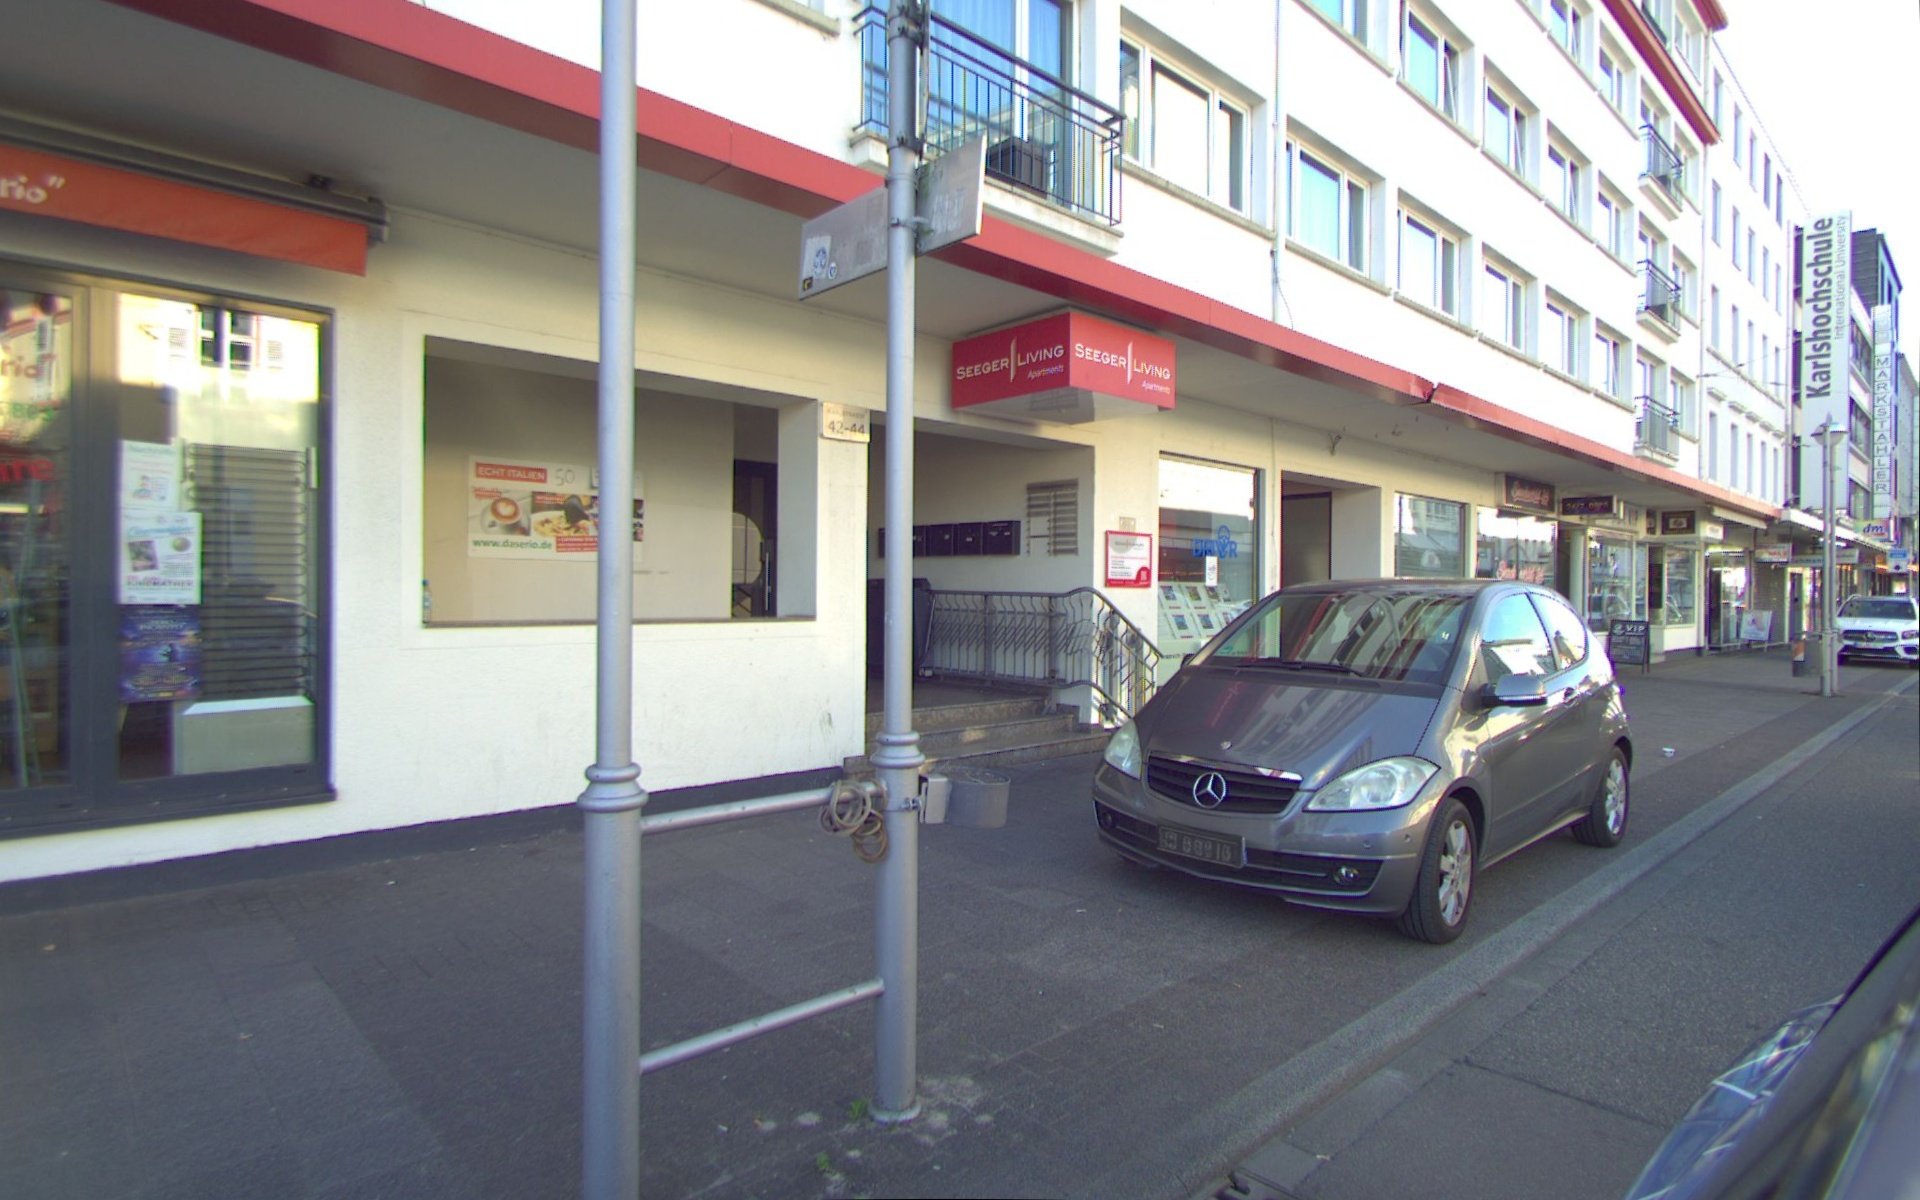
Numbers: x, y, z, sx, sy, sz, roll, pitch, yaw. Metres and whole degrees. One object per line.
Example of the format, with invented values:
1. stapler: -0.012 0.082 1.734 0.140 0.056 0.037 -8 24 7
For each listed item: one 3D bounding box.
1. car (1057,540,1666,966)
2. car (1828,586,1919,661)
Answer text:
1. car: 2.477 0.564 5.695 3.932 1.565 1.681 0 0 -43
2. car: 22.377 0.519 24.350 1.994 1.650 3.935 1 1 45
